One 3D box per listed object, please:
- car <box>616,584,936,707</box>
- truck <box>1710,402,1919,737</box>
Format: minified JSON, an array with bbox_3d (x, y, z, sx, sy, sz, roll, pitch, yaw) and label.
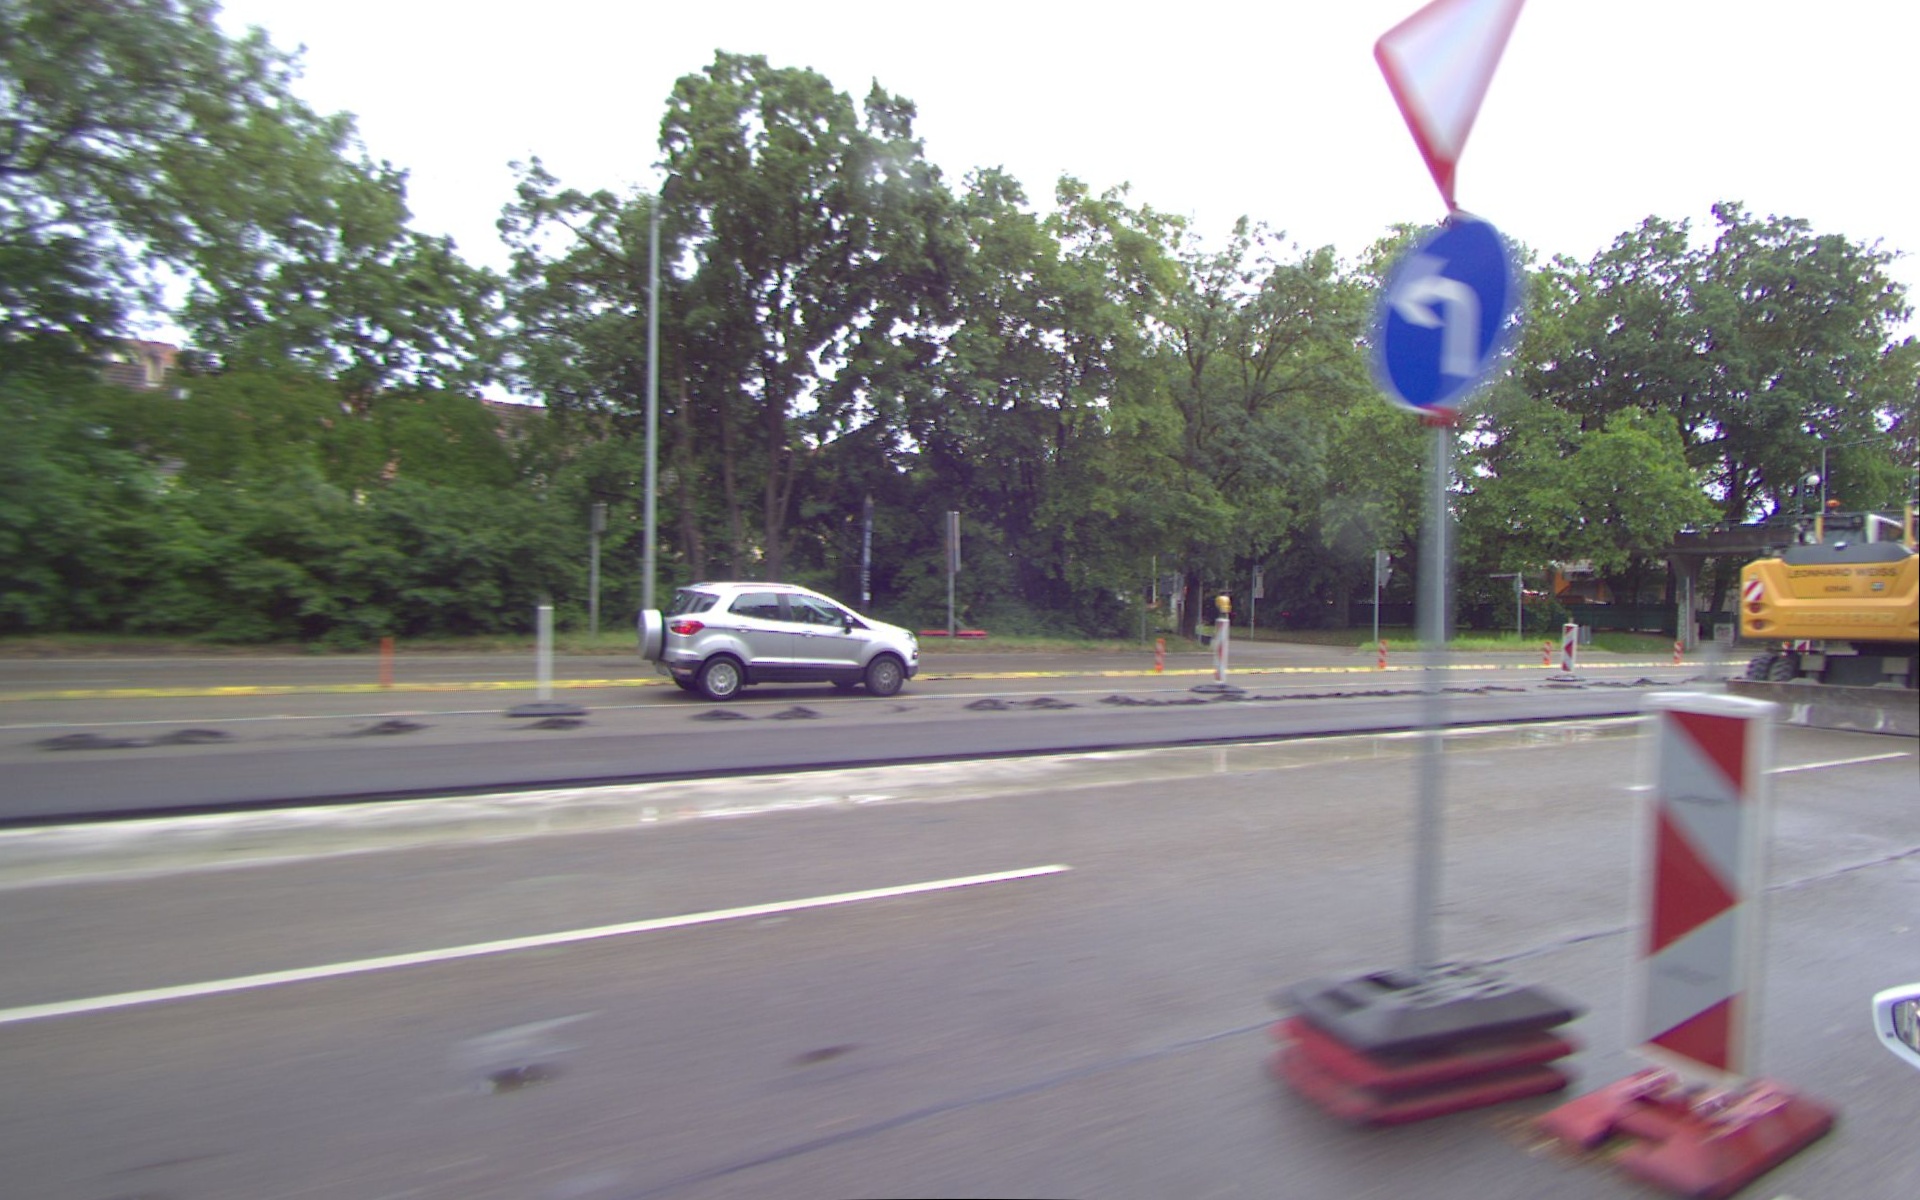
[{"bbox_3d":[-2.710,0.616,14.955,4.311,1.585,1.880,1,1,-30],"label":"car"},{"bbox_3d":[16.346,-0.300,16.634,10.643,4.316,2.879,1,0,-34],"label":"truck"}]
